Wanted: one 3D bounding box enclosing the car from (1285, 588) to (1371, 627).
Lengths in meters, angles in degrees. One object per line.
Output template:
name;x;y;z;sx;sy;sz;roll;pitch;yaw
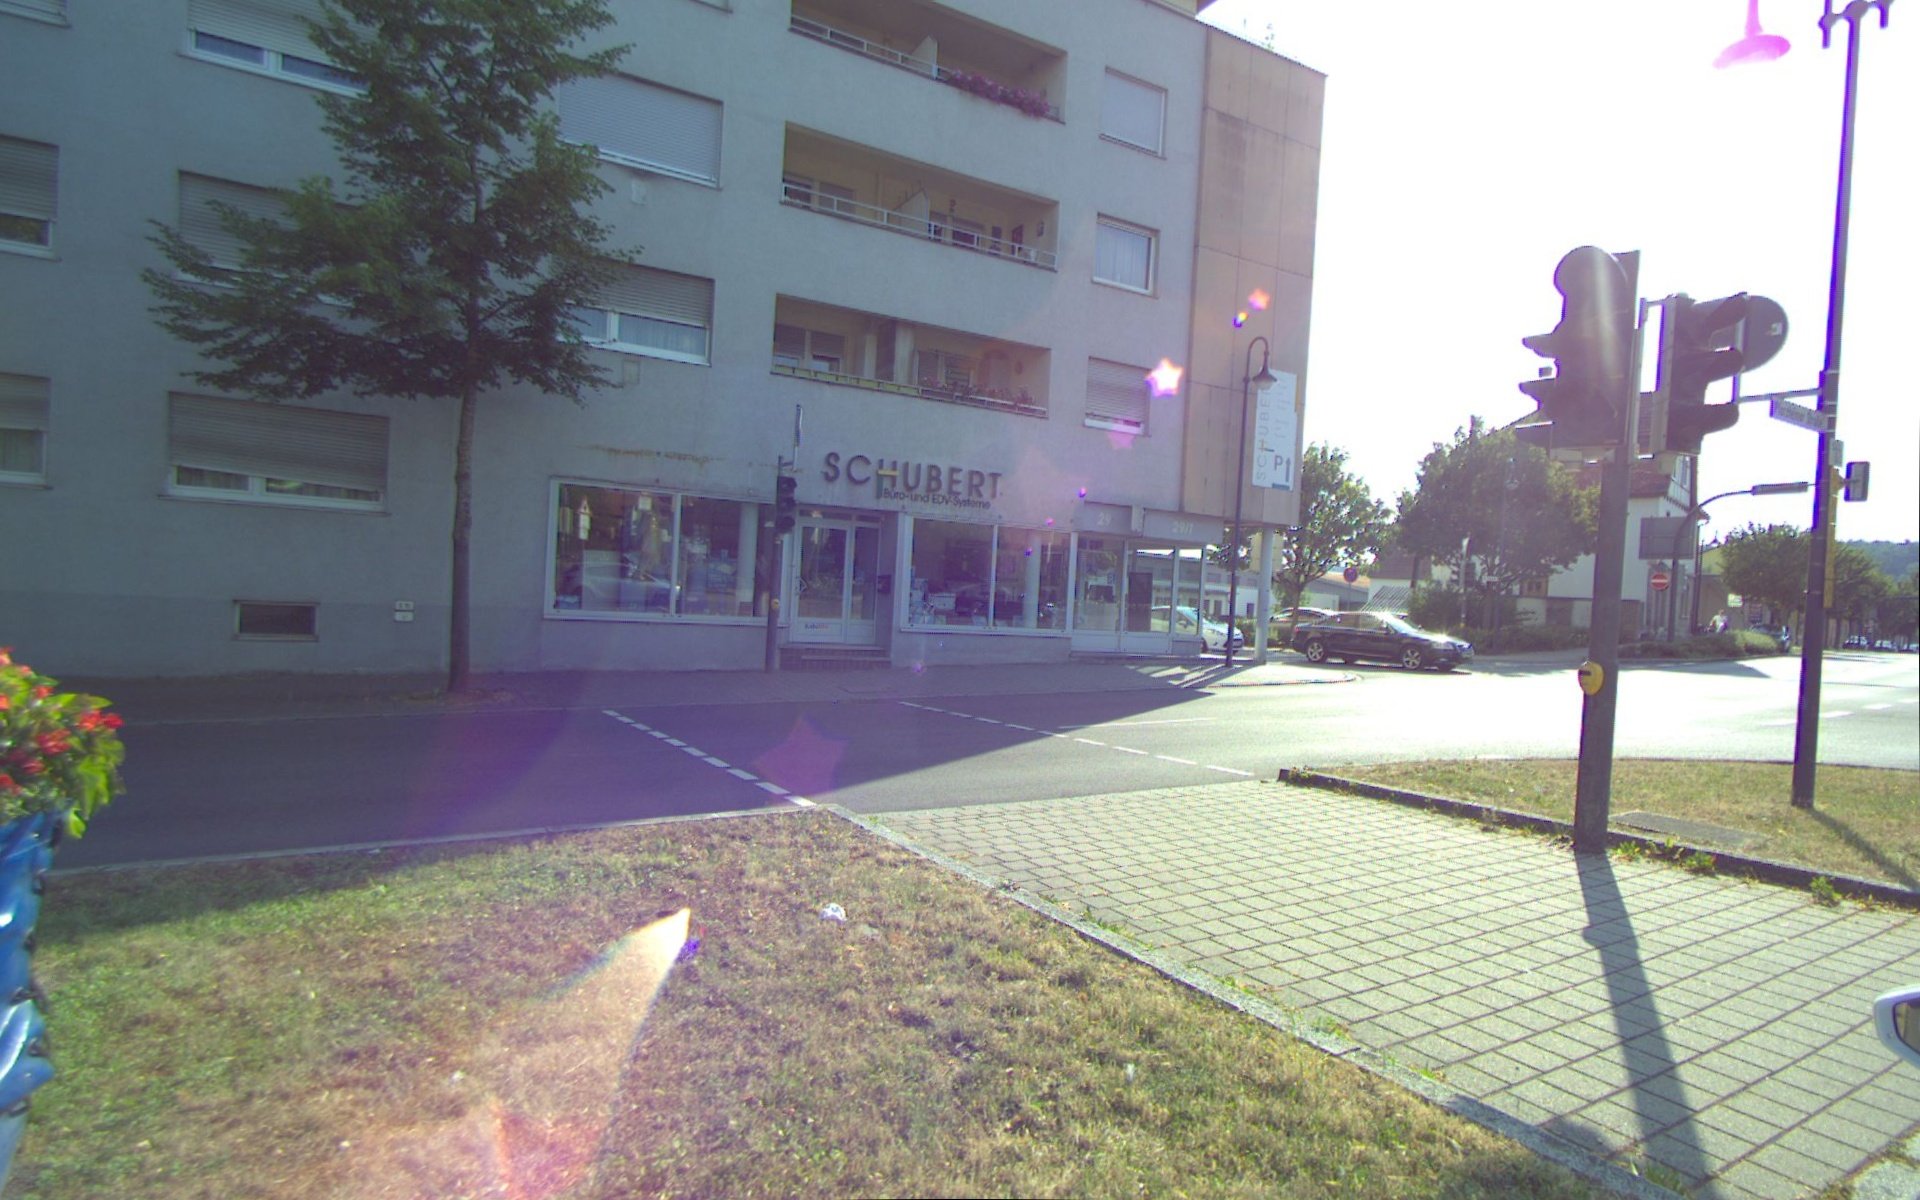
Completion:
car;16.811;0.344;45.987;3.252;1.661;1.738;1;0;44

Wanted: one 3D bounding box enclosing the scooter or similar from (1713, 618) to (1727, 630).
scooter or similar;39.576;1.249;52.281;0.439;0.590;1.037;2;0;44

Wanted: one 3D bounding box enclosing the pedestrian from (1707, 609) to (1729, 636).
pedestrian;40.141;1.185;53.173;0.804;1.413;0.702;2;0;45

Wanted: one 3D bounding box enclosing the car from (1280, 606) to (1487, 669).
car;11.230;0.963;26.973;1.899;1.456;4.823;2;0;-36

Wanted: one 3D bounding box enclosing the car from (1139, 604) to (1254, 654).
car;7.540;0.896;32.356;1.839;1.456;3.809;2;0;-19
